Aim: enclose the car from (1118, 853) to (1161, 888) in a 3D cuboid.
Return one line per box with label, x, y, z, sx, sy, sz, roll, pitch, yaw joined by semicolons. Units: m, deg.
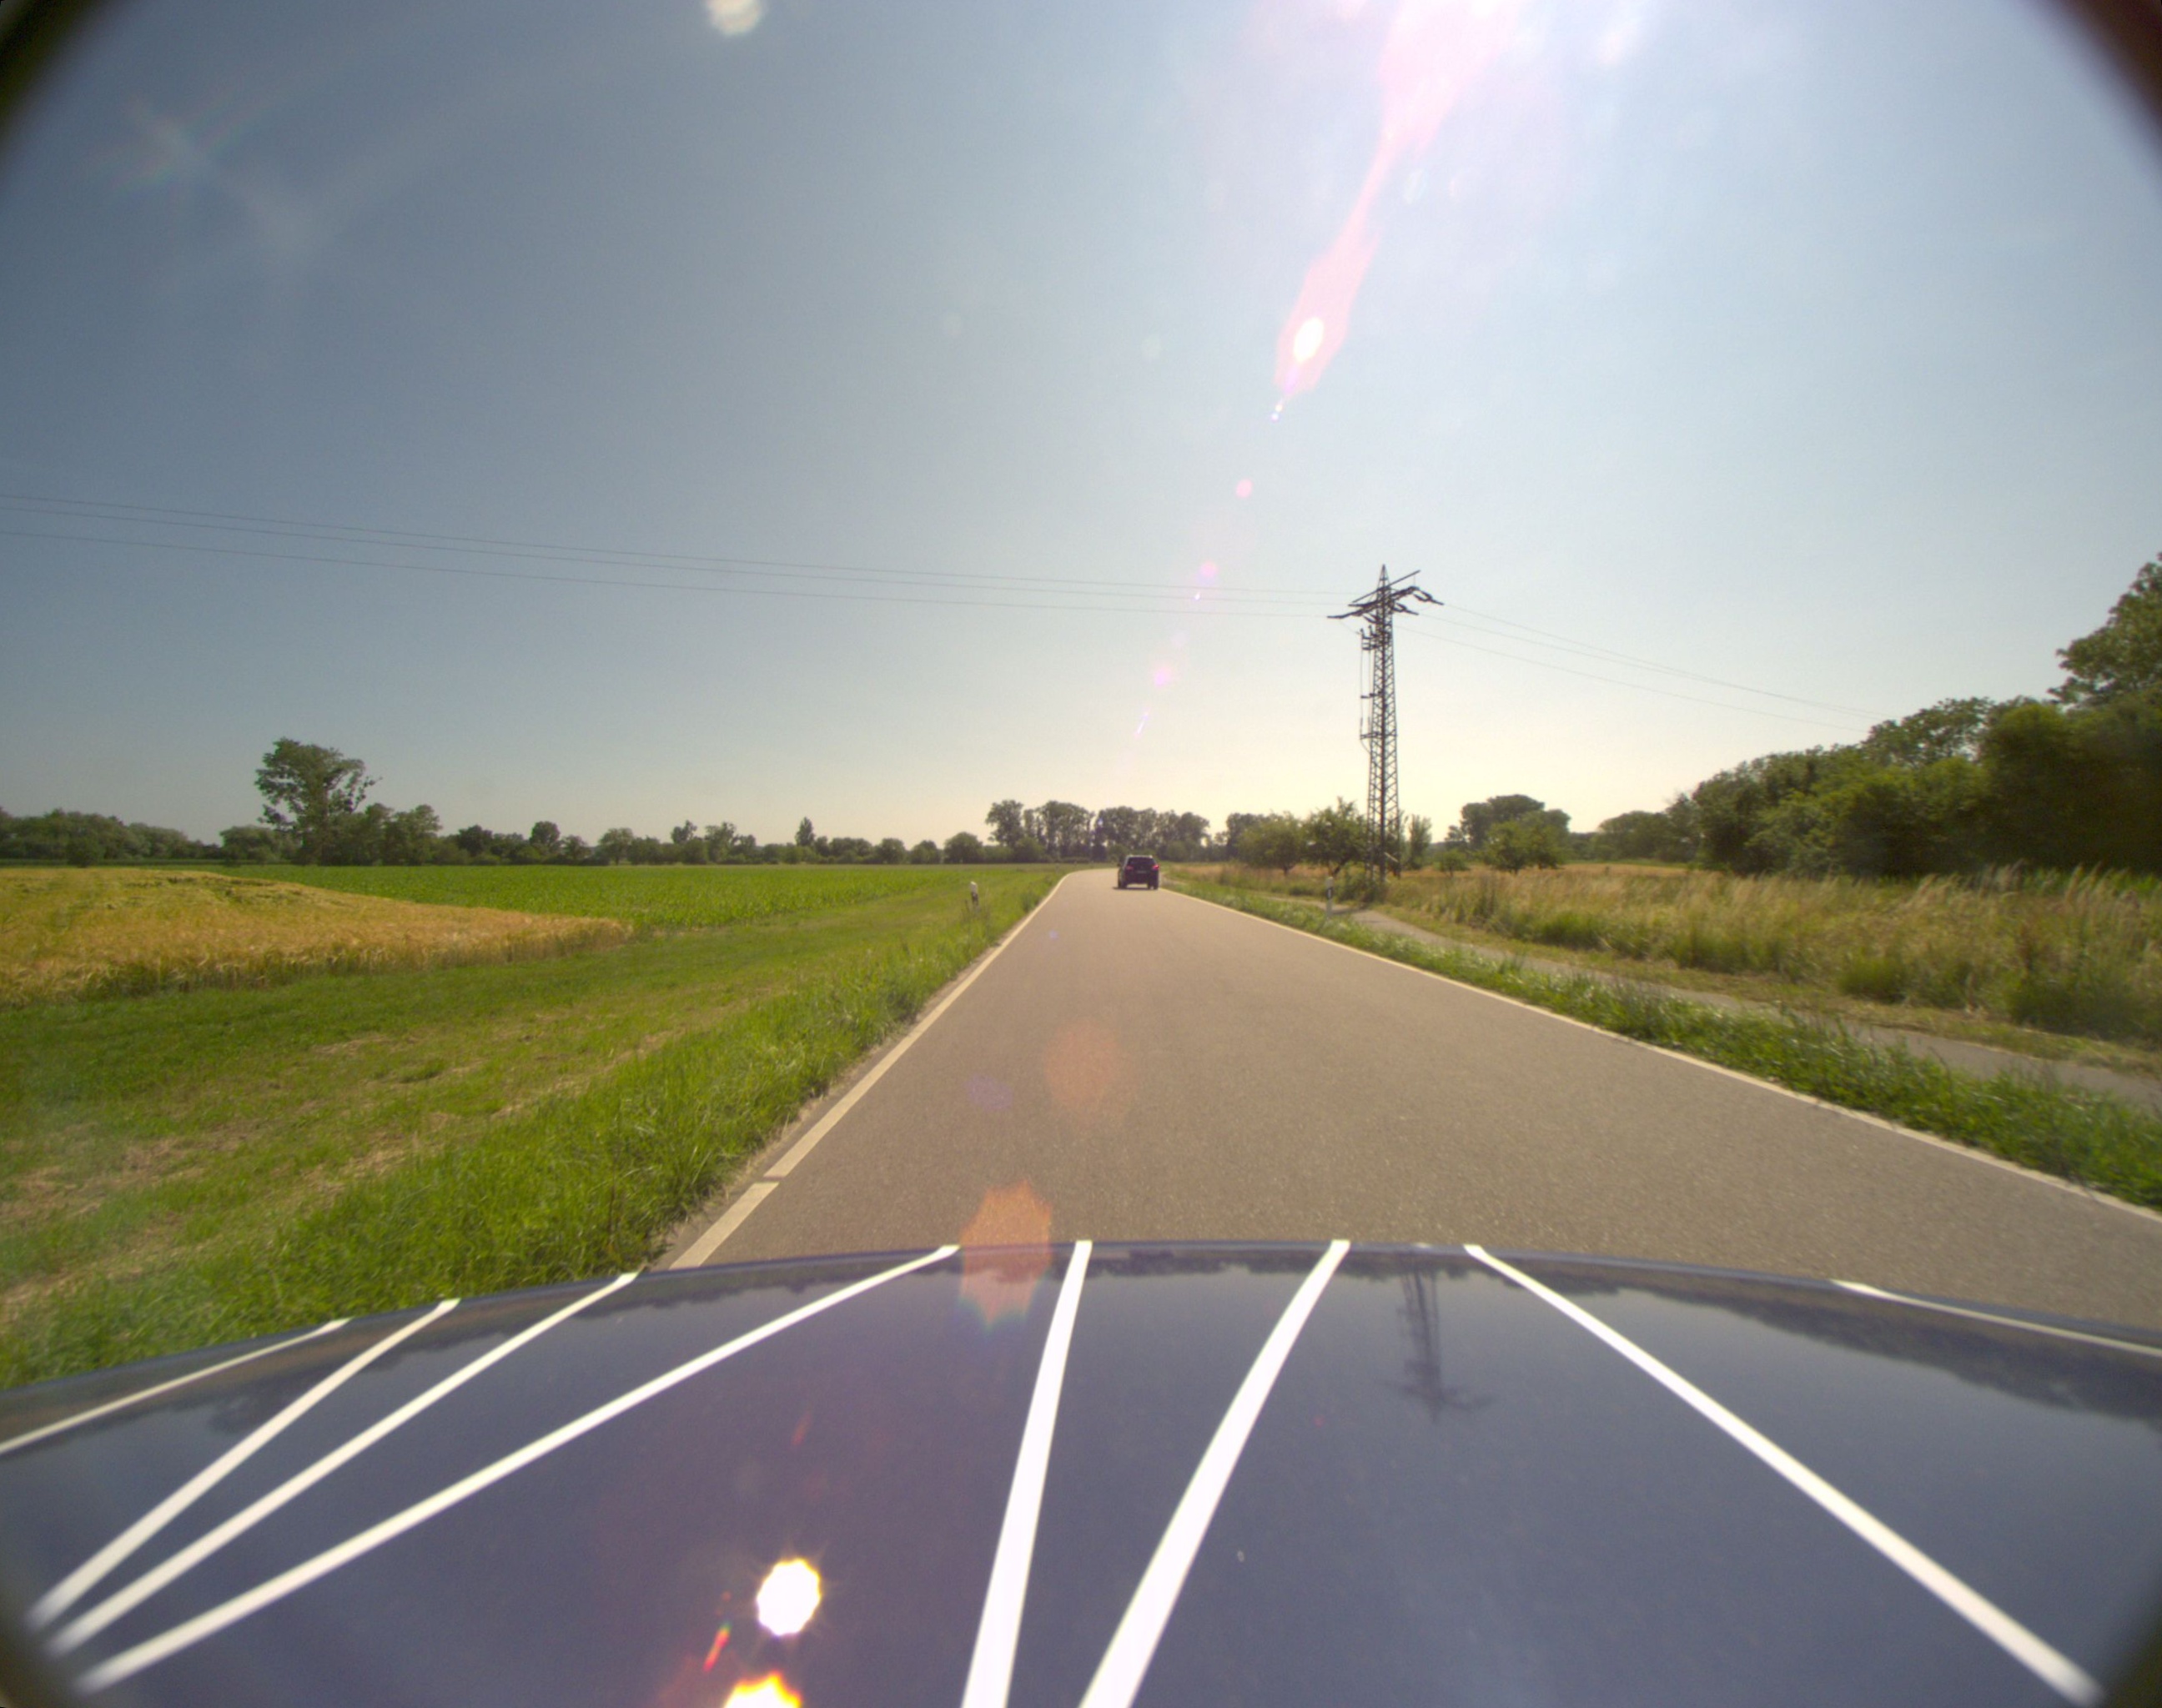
car;3.060;0.812;40.376;1.870;1.742;4.296;1;0;-1
